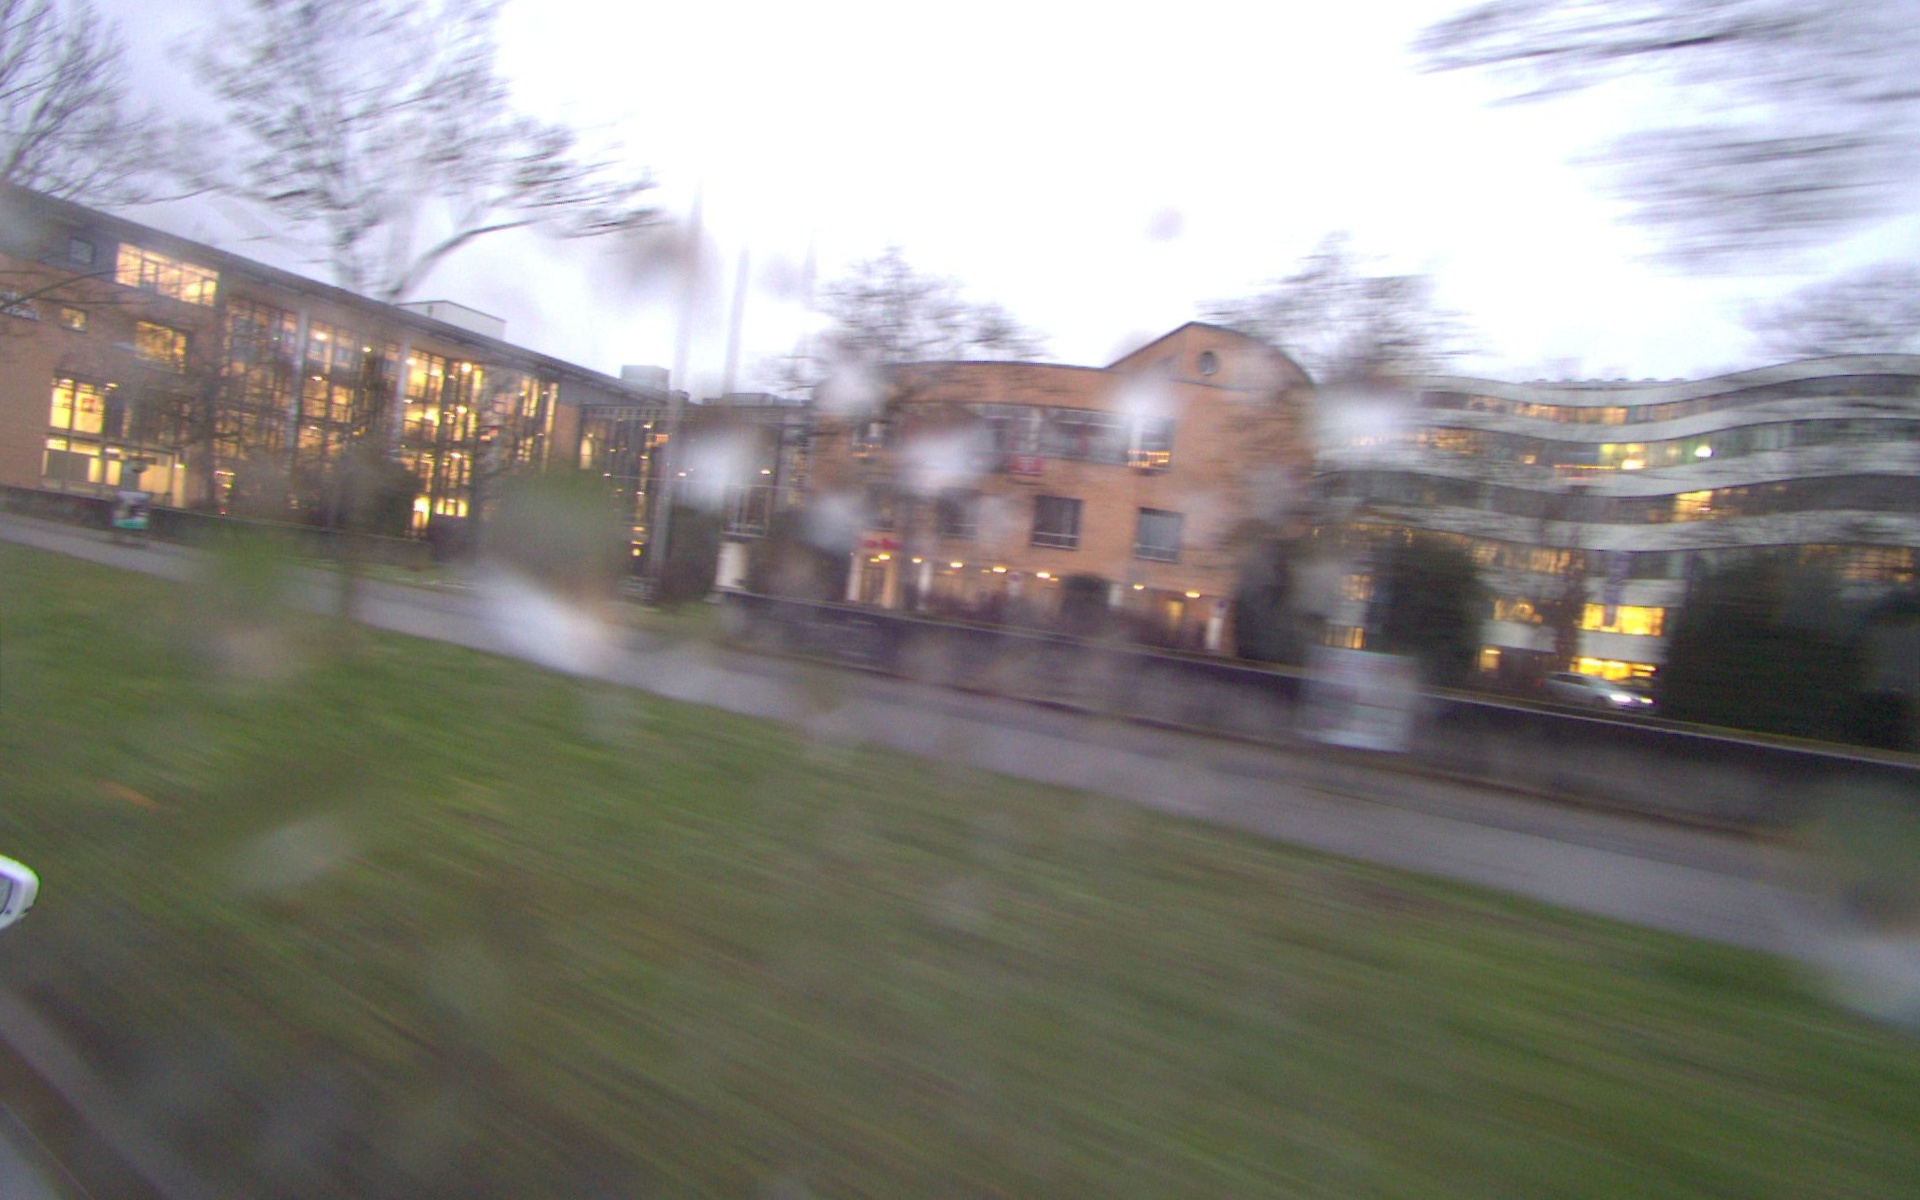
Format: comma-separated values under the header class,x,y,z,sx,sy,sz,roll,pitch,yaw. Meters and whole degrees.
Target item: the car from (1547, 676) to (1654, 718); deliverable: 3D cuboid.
class,x,y,z,sx,sy,sz,roll,pitch,yaw
car,27.503,4.151,43.358,1.646,1.195,3.697,7,0,-13
